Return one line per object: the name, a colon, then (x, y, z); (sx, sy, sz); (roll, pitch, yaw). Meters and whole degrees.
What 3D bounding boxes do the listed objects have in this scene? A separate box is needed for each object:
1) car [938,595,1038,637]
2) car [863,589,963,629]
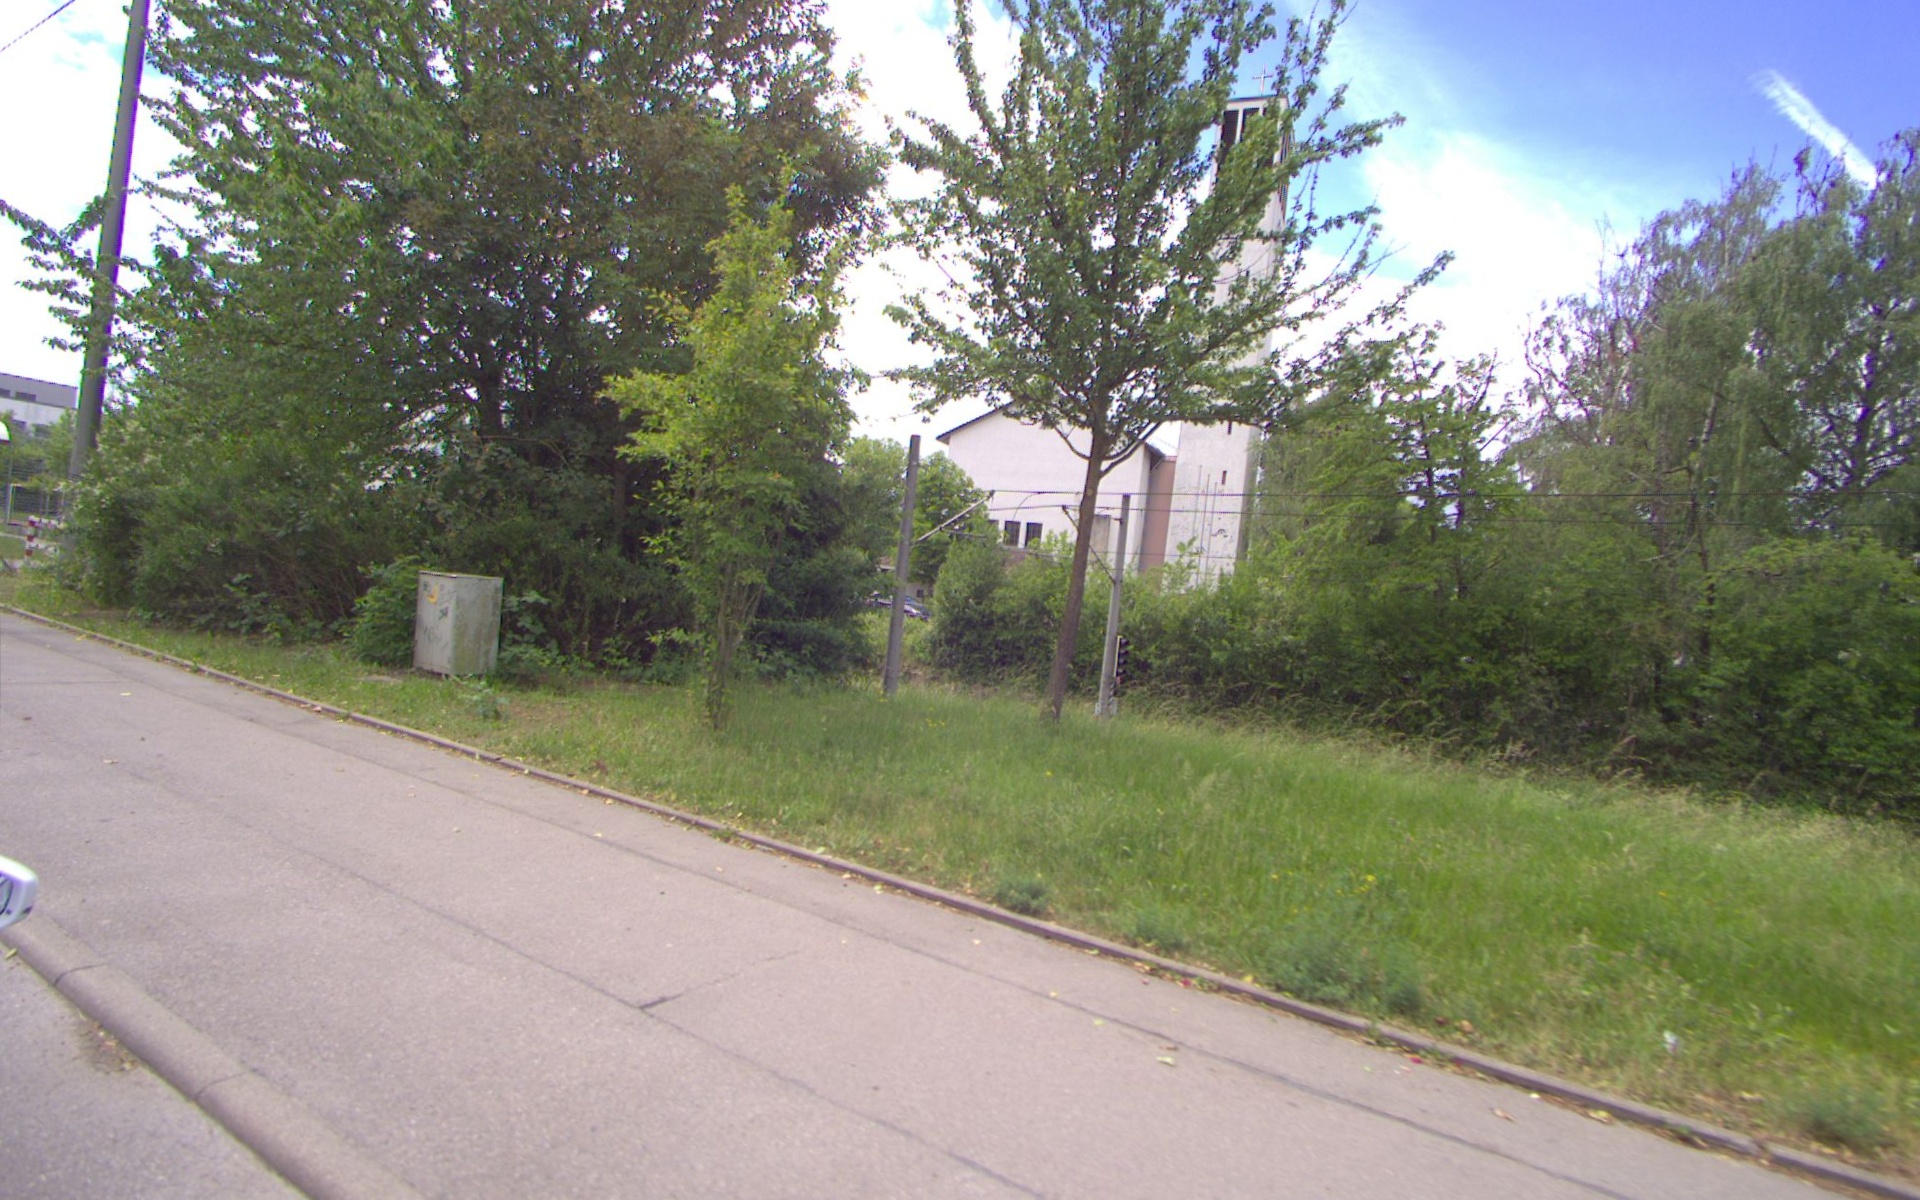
car: (1.153, 0.666, 43.074); (1.986, 1.349, 3.952); (6, 1, -42)
car: (-2.246, 0.412, 47.084); (1.986, 1.349, 4.765); (6, 1, -42)
